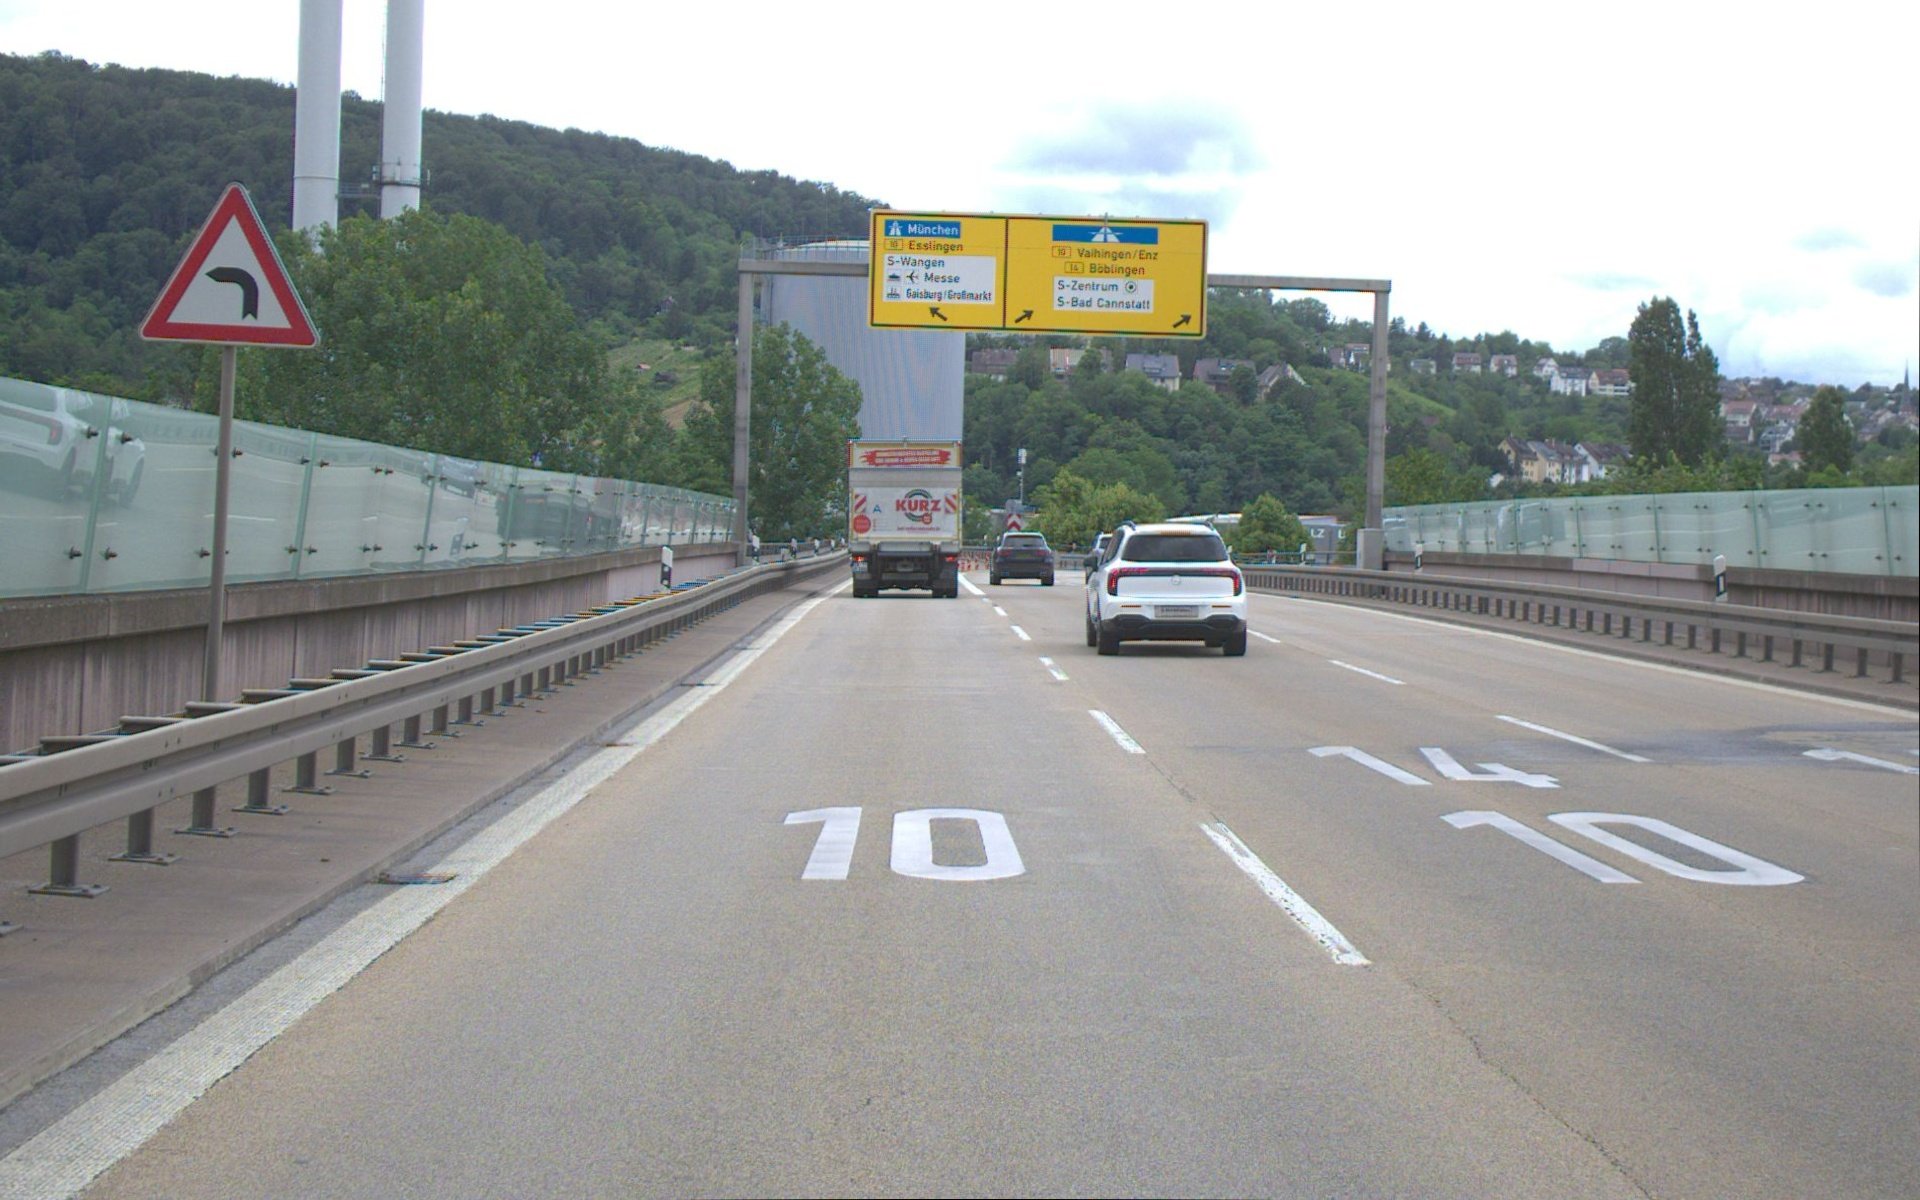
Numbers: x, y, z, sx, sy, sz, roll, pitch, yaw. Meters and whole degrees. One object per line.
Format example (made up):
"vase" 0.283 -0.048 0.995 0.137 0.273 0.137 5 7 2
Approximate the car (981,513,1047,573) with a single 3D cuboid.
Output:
"car" 1.643 -1.779 105.855 1.924 1.779 4.113 1 1 0

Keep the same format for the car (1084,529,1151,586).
"car" 5.102 -1.391 111.930 1.924 1.779 4.113 1 1 0

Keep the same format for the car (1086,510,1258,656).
"car" 2.678 -0.260 44.282 1.924 1.779 4.113 1 1 0

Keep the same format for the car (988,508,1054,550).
"car" 2.915 -3.372 163.738 2.474 1.973 5.159 0 1 8

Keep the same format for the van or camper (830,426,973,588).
"van or camper" -1.279 -2.124 80.273 3.122 3.567 8.550 0 1 0
